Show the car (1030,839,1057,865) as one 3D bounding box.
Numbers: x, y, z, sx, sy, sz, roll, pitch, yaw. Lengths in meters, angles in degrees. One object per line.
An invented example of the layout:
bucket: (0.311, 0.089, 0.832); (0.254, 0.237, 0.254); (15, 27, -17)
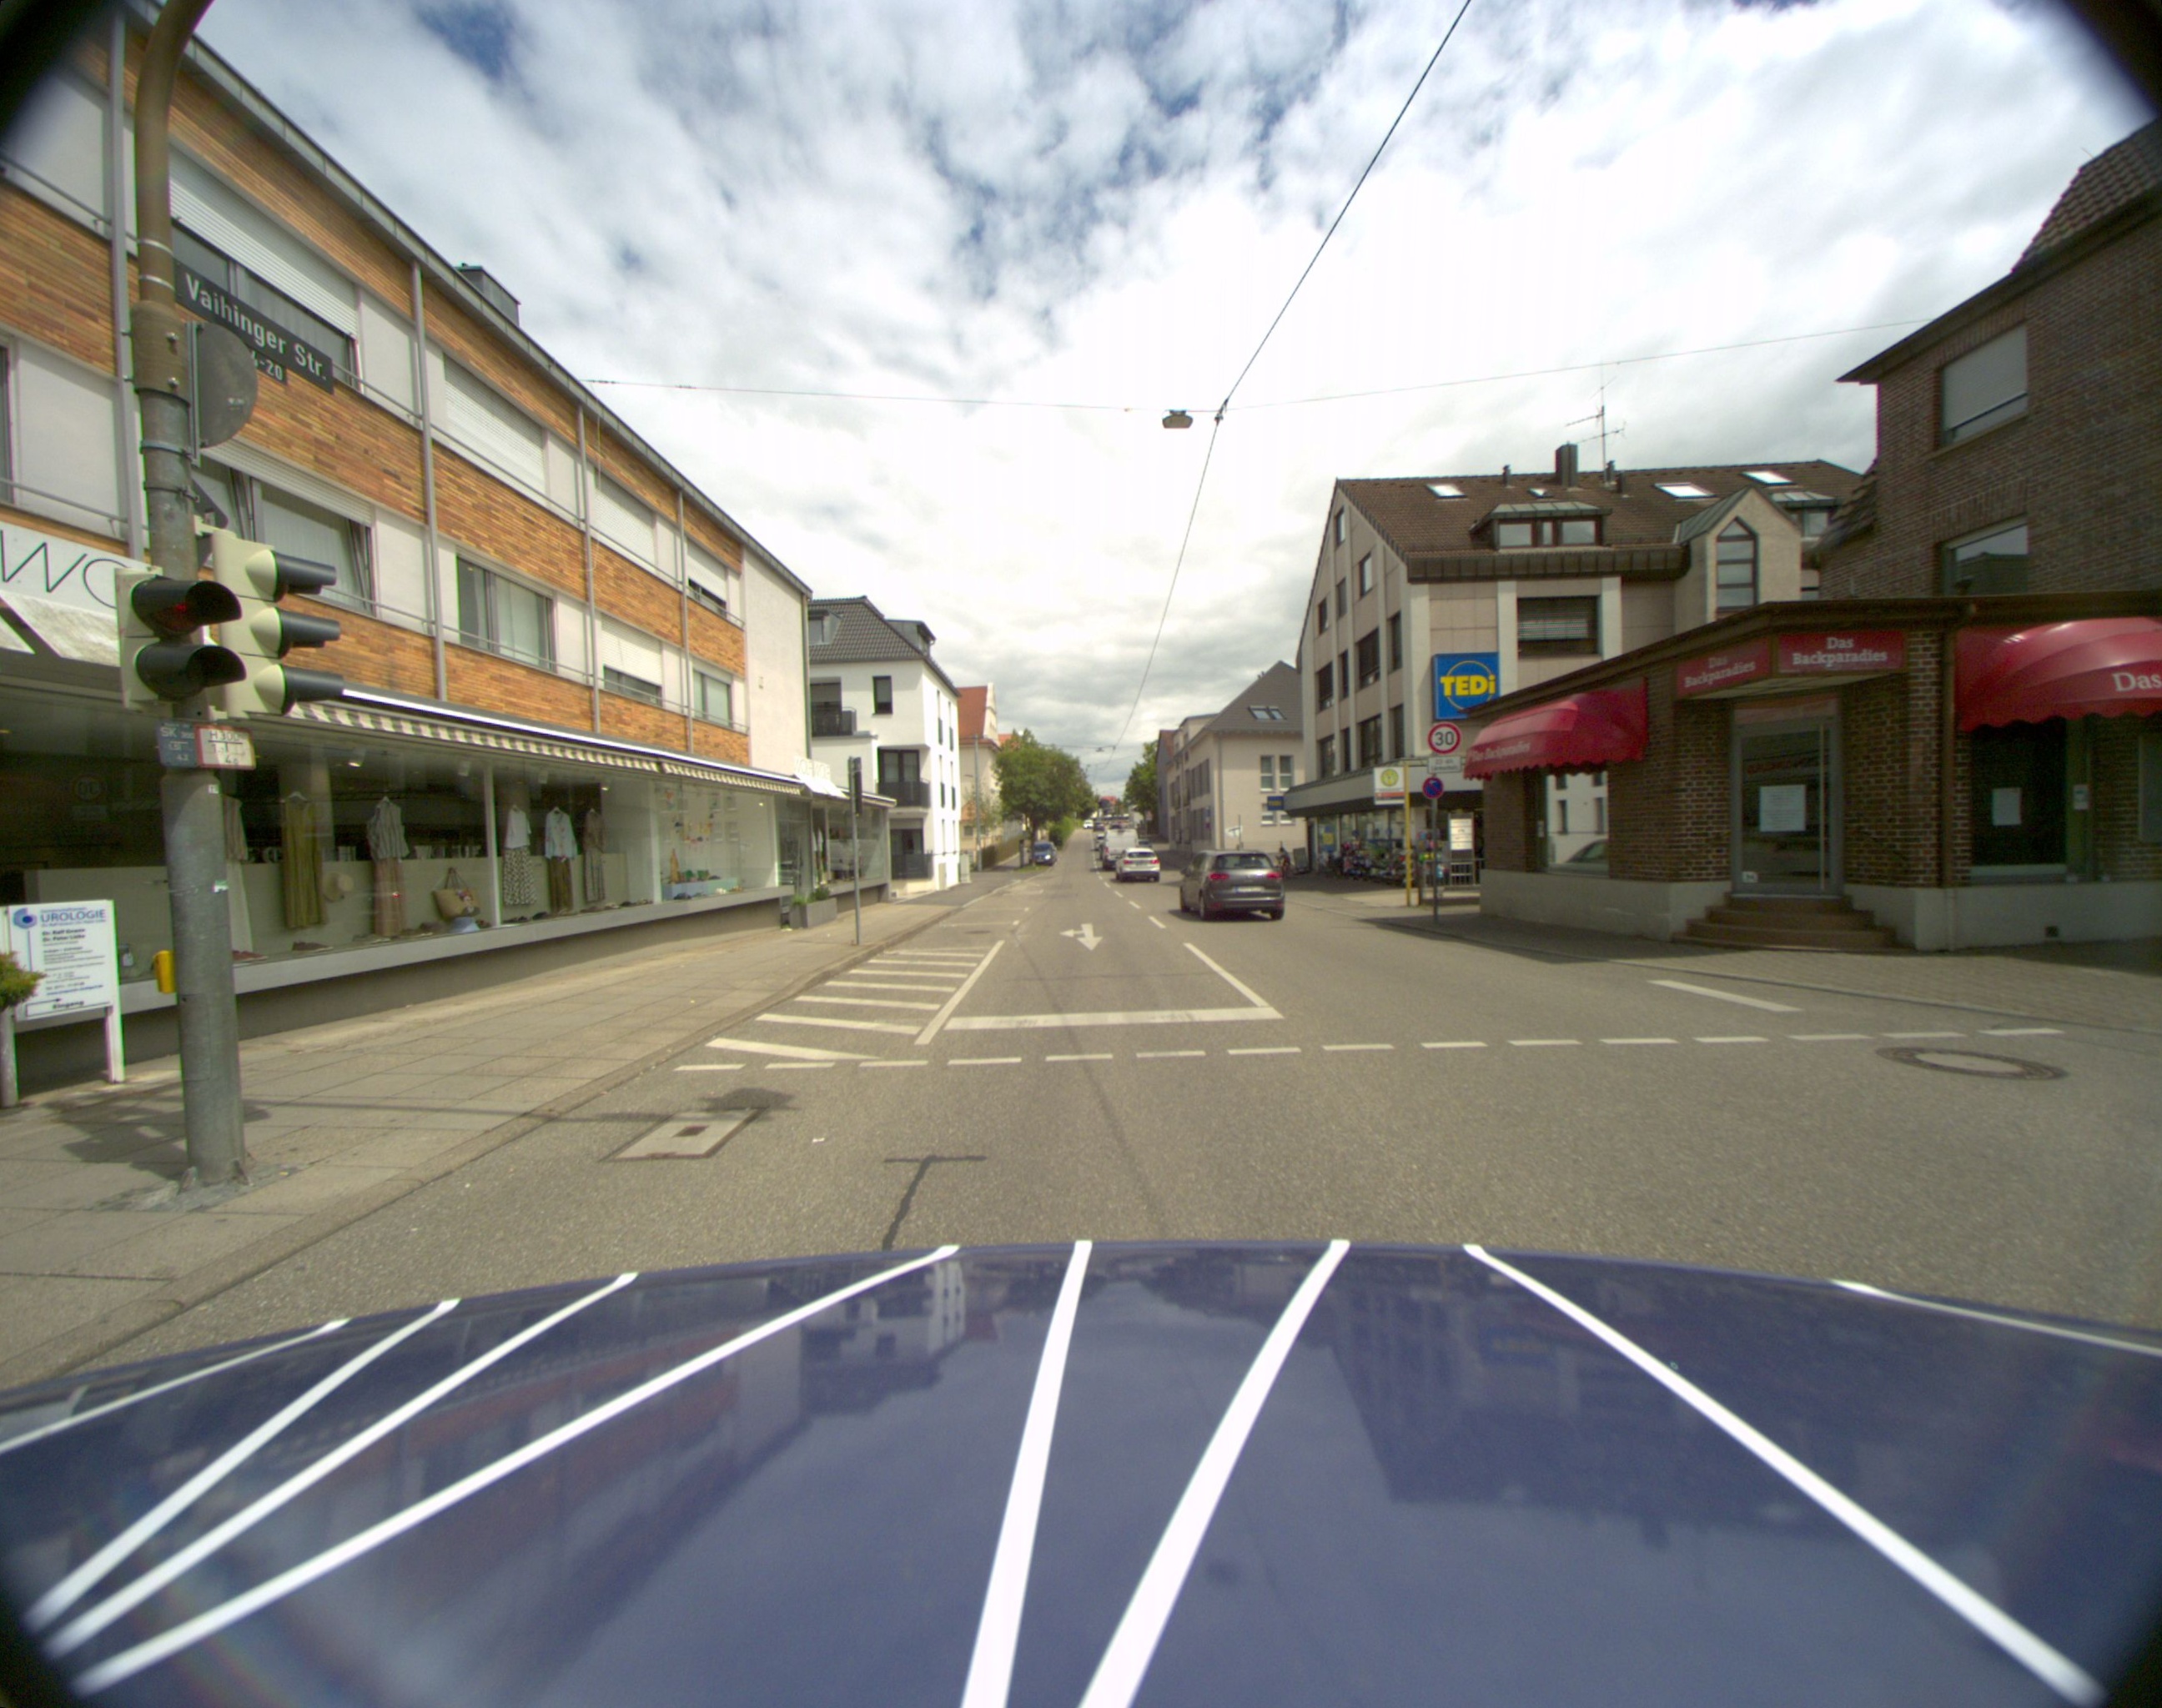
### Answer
car: (-2.763, -0.195, 56.736); (1.698, 1.734, 4.157); (-2, 2, 1)

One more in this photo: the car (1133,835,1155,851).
car: (5.572, -0.936, 67.043); (1.665, 1.322, 3.473); (-1, 1, 0)

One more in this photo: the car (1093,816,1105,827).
car: (3.064, -5.617, 132.172); (1.946, 1.709, 4.596); (-1, 1, 0)

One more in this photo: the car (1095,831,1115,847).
car: (2.408, -1.545, 76.959); (1.780, 1.604, 4.117); (-1, 2, -2)

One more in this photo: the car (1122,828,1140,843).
car: (5.549, -2.137, 85.097); (1.737, 1.480, 4.063); (-1, 4, 0)

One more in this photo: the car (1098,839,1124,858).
car: (2.475, -0.480, 63.574); (1.796, 1.502, 3.843); (-1, 1, -3)

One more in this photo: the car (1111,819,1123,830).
car: (5.624, -4.546, 118.134); (1.673, 1.546, 3.963); (-1, 4, 0)

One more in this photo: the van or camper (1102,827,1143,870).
van or camper: (2.612, -0.358, 48.685); (2.154, 2.541, 5.436); (-1, 0, -1)

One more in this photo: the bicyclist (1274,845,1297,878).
bicyclist: (8.641, 0.305, 32.127); (0.669, 1.330, 0.761); (-5, 3, 0)

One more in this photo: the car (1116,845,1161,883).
car: (2.710, 0.430, 36.865); (1.785, 1.631, 4.218); (0, 2, -1)

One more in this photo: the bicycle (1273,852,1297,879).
bicycle: (8.608, 0.470, 32.077); (0.444, 1.044, 1.733); (-5, 3, 0)

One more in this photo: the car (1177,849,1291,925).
car: (3.485, 0.690, 18.092); (1.794, 1.580, 4.100); (-1, 0, -1)
